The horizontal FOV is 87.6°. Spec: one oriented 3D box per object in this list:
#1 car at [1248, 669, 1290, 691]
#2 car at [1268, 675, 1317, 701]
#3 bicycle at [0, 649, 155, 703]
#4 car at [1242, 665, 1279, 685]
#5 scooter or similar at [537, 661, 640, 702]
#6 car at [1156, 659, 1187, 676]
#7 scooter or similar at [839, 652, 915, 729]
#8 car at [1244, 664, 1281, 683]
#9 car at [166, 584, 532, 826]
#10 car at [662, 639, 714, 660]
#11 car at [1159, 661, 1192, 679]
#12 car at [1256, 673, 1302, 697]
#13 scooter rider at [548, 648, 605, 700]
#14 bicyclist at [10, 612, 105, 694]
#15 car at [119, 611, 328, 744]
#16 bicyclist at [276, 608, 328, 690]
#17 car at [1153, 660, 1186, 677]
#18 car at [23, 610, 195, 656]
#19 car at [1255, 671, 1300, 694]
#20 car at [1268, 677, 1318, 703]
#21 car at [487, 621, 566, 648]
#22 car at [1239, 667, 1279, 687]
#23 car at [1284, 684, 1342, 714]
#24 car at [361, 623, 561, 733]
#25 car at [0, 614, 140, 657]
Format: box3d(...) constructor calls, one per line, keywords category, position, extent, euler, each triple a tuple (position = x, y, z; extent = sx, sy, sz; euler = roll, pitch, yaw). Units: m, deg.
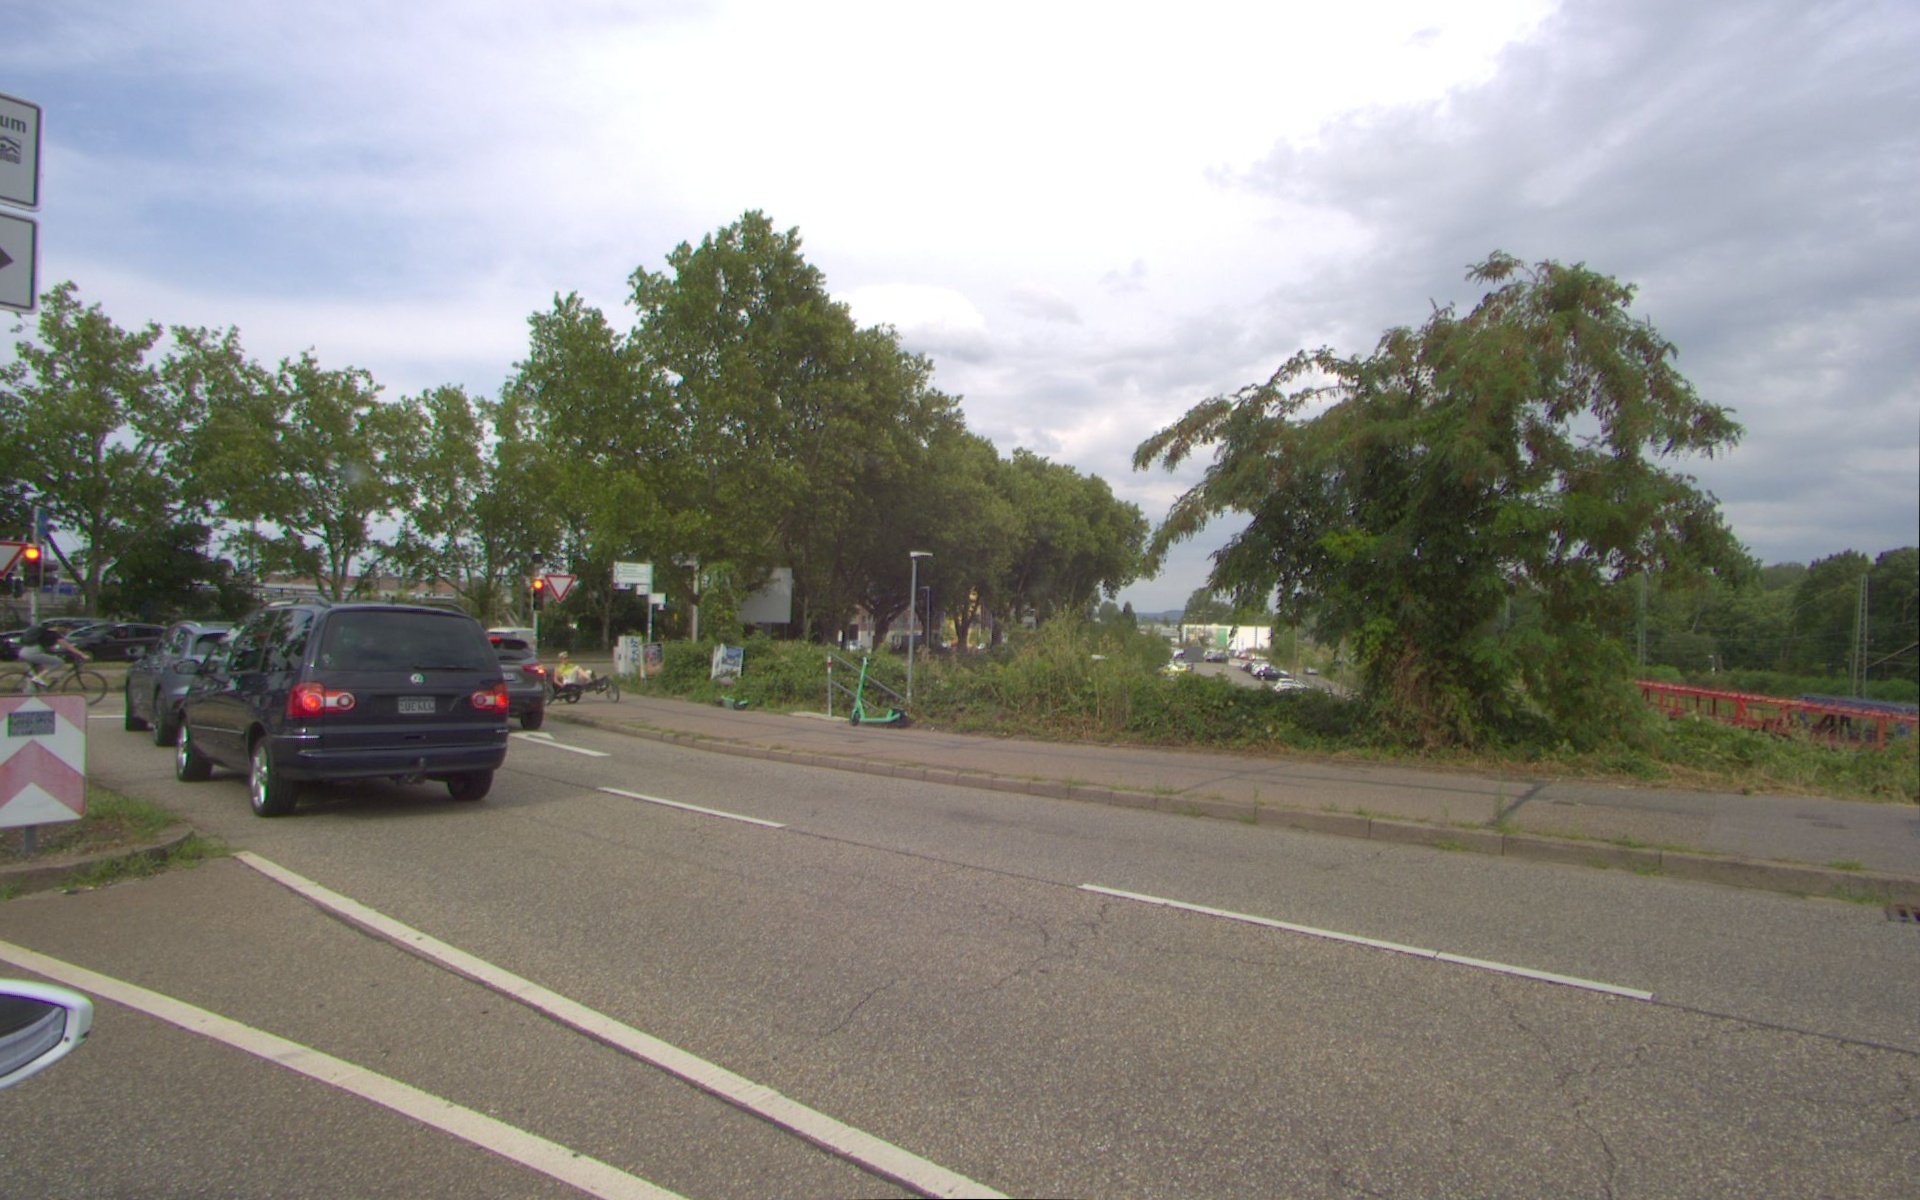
box3d(category="car", position=(32.111, 8.304, 104.253), extent=(3.923, 2.040, 1.762), euler=(1, -1, 10))
box3d(category="car", position=(30.024, 7.929, 90.502), extent=(3.923, 2.040, 1.762), euler=(1, -1, 10))
box3d(category="bicycle", position=(-16.609, 1.383, 18.570), extent=(0.693, 0.901, 2.585), euler=(1, -1, 25))
box3d(category="car", position=(34.698, 8.635, 115.638), extent=(3.923, 2.040, 1.762), euler=(1, -1, 10))
box3d(category="scooter or similar", position=(-8.401, 1.824, 22.607), extent=(2.349, 0.860, 0.806), euler=(-1, -2, 27))
box3d(category="car", position=(28.019, 8.865, 132.507), extent=(3.926, 2.040, 1.761), euler=(1, -1, 16))
box3d(category="scooter or similar", position=(-1.365, 1.465, 16.447), extent=(1.262, 1.198, 0.396), euler=(-1, -1, 32))
box3d(category="car", position=(36.121, 8.763, 119.583), extent=(3.923, 2.040, 1.762), euler=(1, -1, 10))
box3d(category="car", position=(-5.785, 0.856, 9.277), extent=(4.092, 1.746, 1.743), euler=(-1, -4, 42))
box3d(category="car", position=(-20.239, 3.646, 74.660), extent=(1.729, 1.466, 4.339), euler=(0, -1, 16))
box3d(category="car", position=(26.845, 8.654, 124.779), extent=(3.926, 2.040, 1.761), euler=(1, -1, 16))
box3d(category="car", position=(30.175, 8.035, 94.823), extent=(3.923, 2.040, 1.762), euler=(1, -1, 10))
box3d(category="scooter rider", position=(-8.725, 1.675, 22.789), extent=(0.902, 1.151, 0.806), euler=(-1, -2, 27))
box3d(category="bicyclist", position=(-16.635, 0.959, 18.476), extent=(0.637, 1.455, 1.114), euler=(1, 0, 25))
box3d(category="car", position=(-10.533, 1.041, 14.204), extent=(4.113, 1.604, 1.682), euler=(-2, -4, 44))
box3d(category="bicyclist", position=(-13.925, 1.028, 21.198), extent=(0.872, 1.678, 0.806), euler=(1, -1, -34))
box3d(category="car", position=(26.715, 8.719, 127.677), extent=(3.926, 2.040, 1.761), euler=(1, -1, 16))
box3d(category="car", position=(-29.400, 1.140, 34.783), extent=(1.729, 1.466, 4.339), euler=(0, -1, 16))
box3d(category="car", position=(31.225, 8.149, 98.595), extent=(3.923, 2.040, 1.762), euler=(1, -1, 10))
box3d(category="car", position=(28.971, 7.826, 87.189), extent=(3.923, 2.040, 1.762), euler=(1, -1, 10))
box3d(category="car", position=(-24.452, 1.942, 56.658), extent=(1.729, 1.466, 4.339), euler=(0, -1, 16))
box3d(category="car", position=(32.901, 8.465, 110.282), extent=(3.923, 2.040, 1.762), euler=(1, -1, 10))
box3d(category="car", position=(26.894, 7.520, 76.374), extent=(3.923, 2.040, 1.762), euler=(1, -1, 10))
box3d(category="car", position=(-8.640, 1.277, 17.172), extent=(4.094, 1.663, 1.742), euler=(-2, -4, 44))
box3d(category="car", position=(-32.932, 1.281, 36.628), extent=(1.729, 1.466, 4.339), euler=(0, -1, 16))
